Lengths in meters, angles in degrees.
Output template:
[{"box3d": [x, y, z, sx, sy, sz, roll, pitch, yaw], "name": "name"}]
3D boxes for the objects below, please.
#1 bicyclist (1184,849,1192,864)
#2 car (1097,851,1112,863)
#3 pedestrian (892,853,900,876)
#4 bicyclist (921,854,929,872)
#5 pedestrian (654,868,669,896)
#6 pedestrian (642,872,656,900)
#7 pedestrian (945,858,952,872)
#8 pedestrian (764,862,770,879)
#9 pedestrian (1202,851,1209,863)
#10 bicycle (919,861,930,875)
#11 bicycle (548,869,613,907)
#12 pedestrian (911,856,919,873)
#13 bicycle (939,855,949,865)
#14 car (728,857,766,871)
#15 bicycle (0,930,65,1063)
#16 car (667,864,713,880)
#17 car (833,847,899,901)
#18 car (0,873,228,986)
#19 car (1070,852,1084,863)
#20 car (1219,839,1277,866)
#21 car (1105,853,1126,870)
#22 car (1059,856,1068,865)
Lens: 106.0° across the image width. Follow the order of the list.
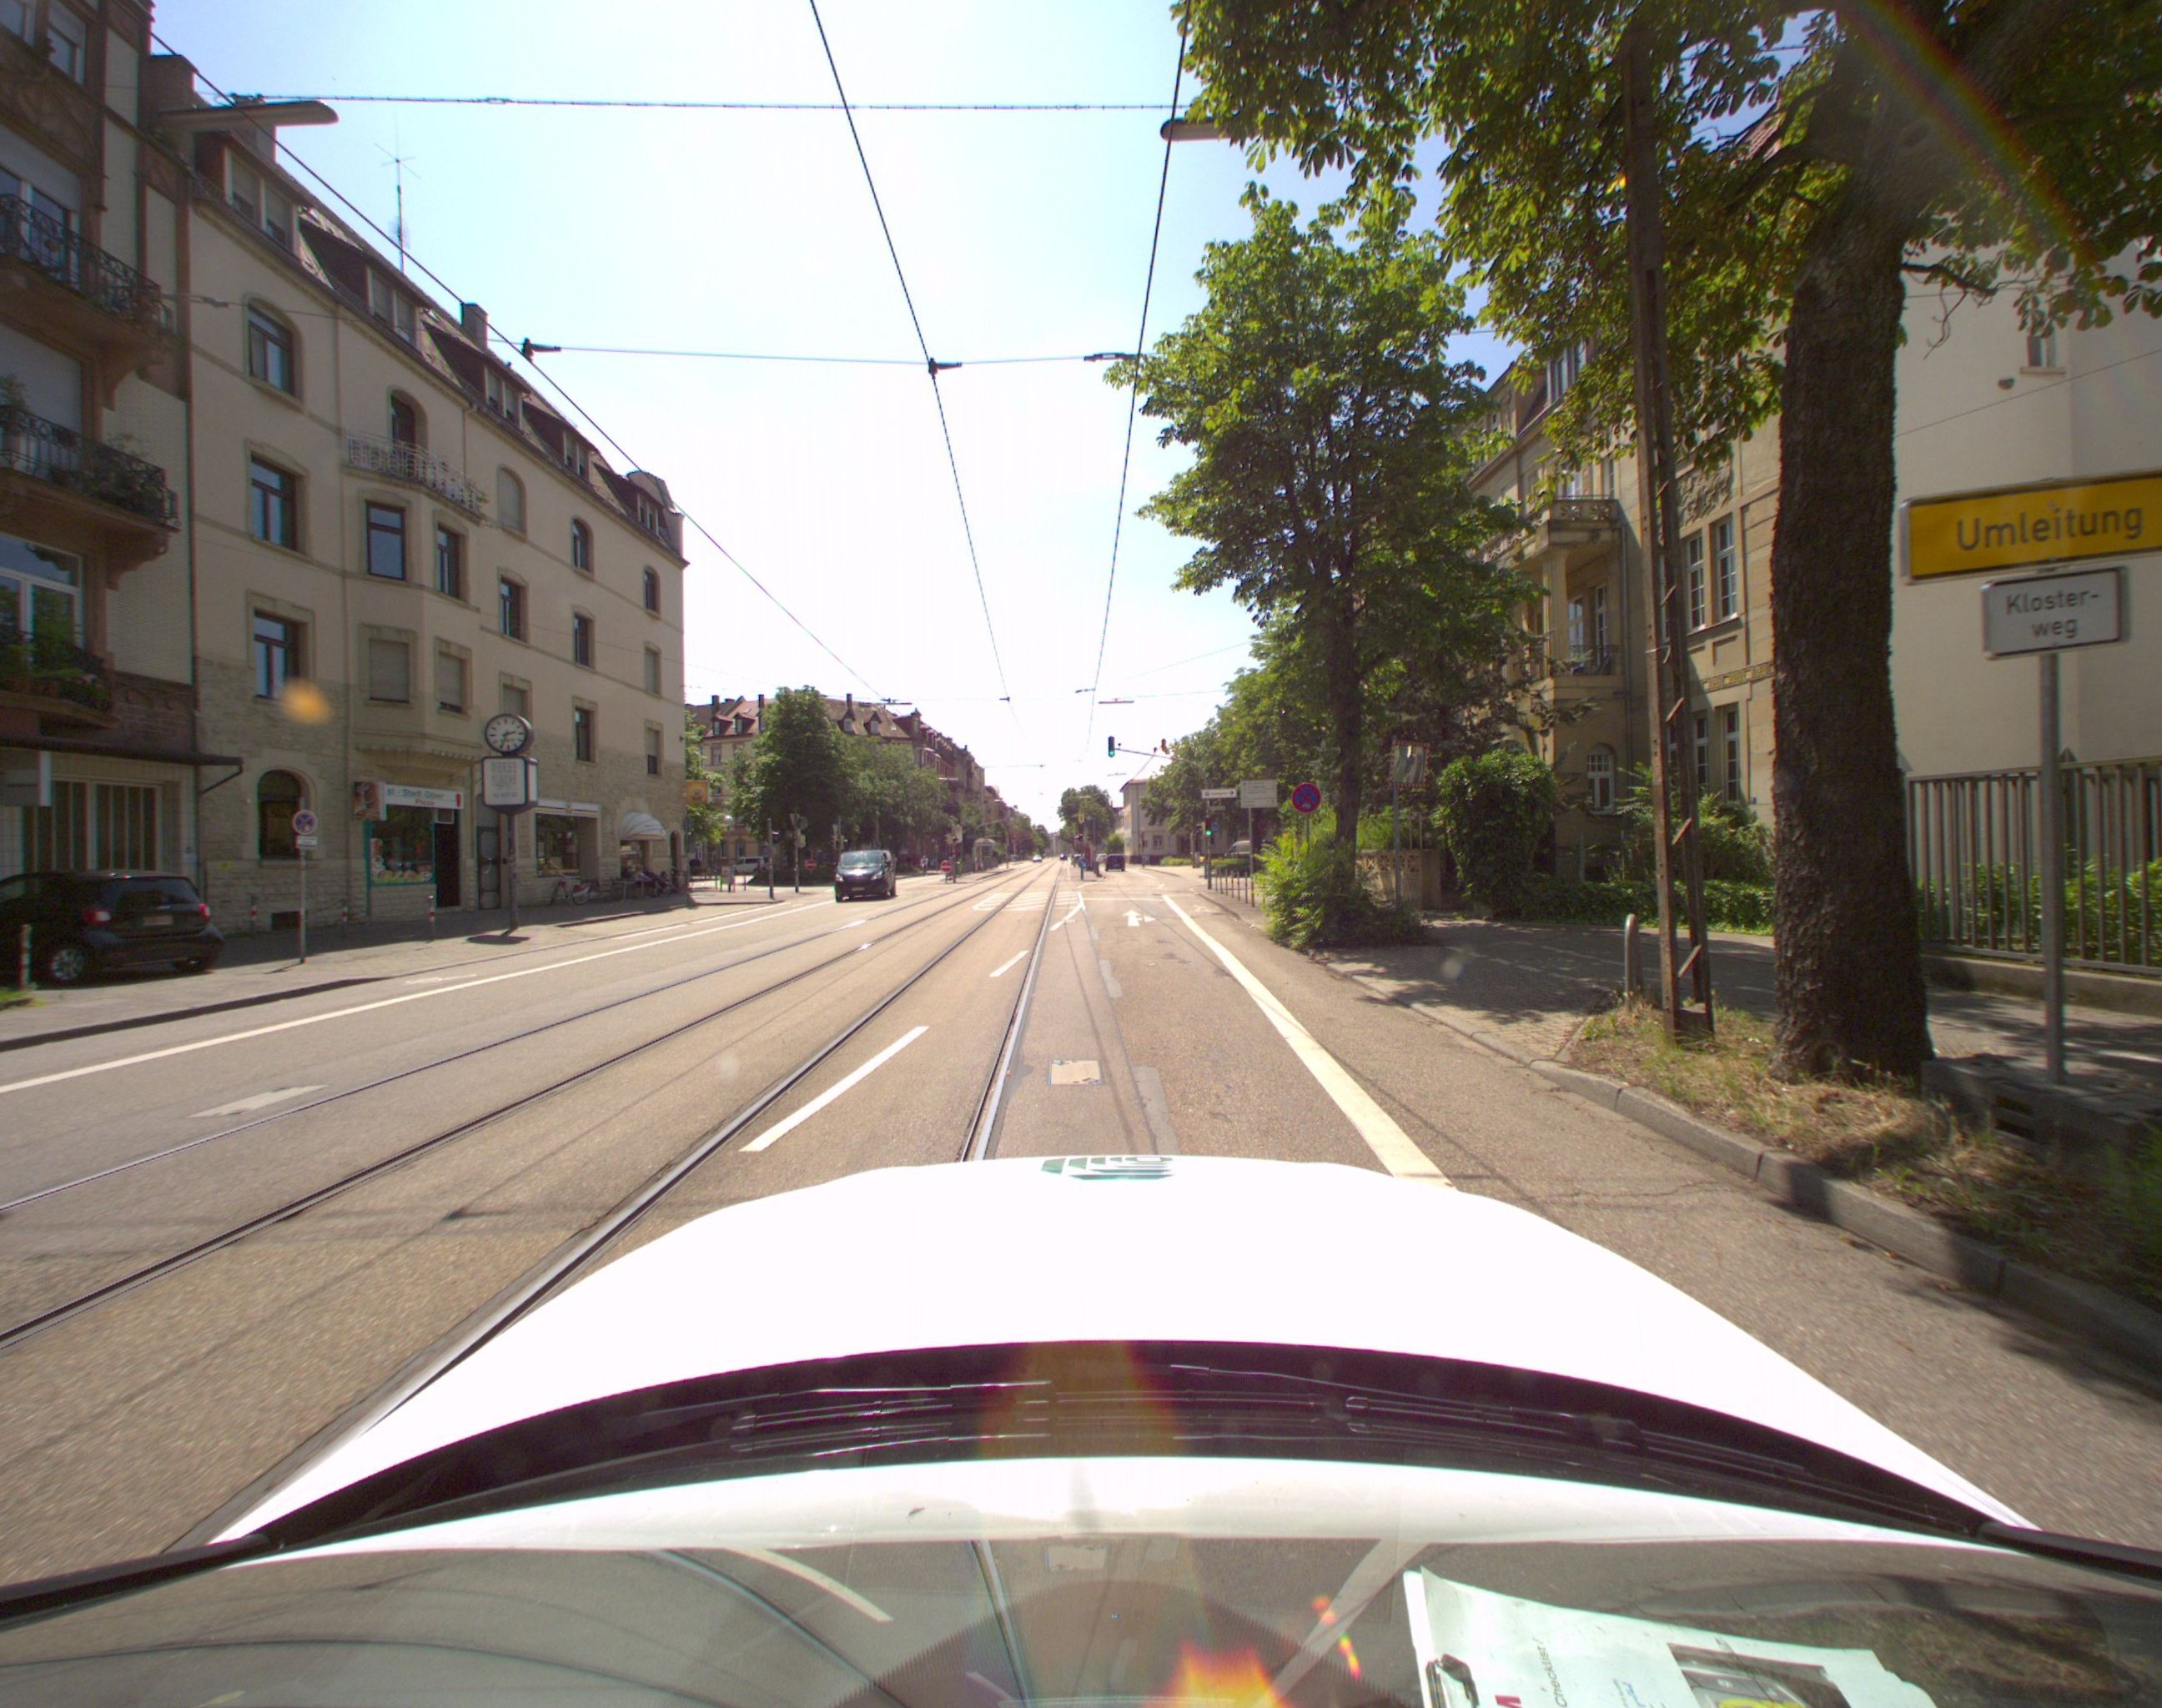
[{"box3d": [11.863, 0.322, 90.315, 0.687, 1.646, 0.584, -1, -1, 31], "name": "bicyclist"}, {"box3d": [3.376, 0.456, 116.982, 1.743, 1.473, 3.934, -4, -1, -3], "name": "car"}, {"box3d": [-15.294, 0.883, 67.206, 0.508, 1.879, 0.494, 0, -1, 3], "name": "pedestrian"}, {"box3d": [-13.379, 0.790, 69.691, 0.606, 1.574, 0.585, 0, -1, -2], "name": "bicyclist"}, {"box3d": [-17.326, 1.159, 33.639, 0.404, 1.148, 0.405, 0, -1, -5], "name": "pedestrian"}, {"box3d": [-17.236, 1.260, 32.471, 0.354, 1.089, 0.405, 0, -1, -5], "name": "pedestrian"}, {"box3d": [-16.460, 1.356, 101.143, 0.657, 1.615, 0.464, 1, 1, -44], "name": "pedestrian"}, {"box3d": [-33.514, 1.775, 86.950, 0.508, 1.768, 0.525, 0, -1, -24], "name": "pedestrian"}, {"box3d": [11.129, 0.254, 72.911, 0.507, 1.092, 0.479, -3, 0, 4], "name": "pedestrian"}, {"box3d": [-13.382, 1.171, 69.605, 0.626, 1.157, 1.976, 0, 0, -2], "name": "bicycle"}, {"box3d": [-17.038, 1.134, 27.794, 0.450, 1.225, 2.089, 0, -1, 18], "name": "bicycle"}, {"box3d": [-16.289, 1.019, 79.992, 0.678, 1.605, 0.771, 0, -1, -5], "name": "pedestrian"}, {"box3d": [-17.419, 0.763, 103.529, 0.360, 1.169, 1.529, 1, 0, 32], "name": "bicycle"}, {"box3d": [-35.266, 1.093, 85.985, 3.696, 1.442, 1.550, 0, -1, 22], "name": "car"}, {"box3d": [-9.433, 1.227, 6.222, 0.642, 1.074, 2.185, -1, 0, -2], "name": "bicycle"}, {"box3d": [-37.029, 1.695, 77.170, 3.710, 1.442, 1.544, 0, -1, 6], "name": "car"}, {"box3d": [-8.612, 0.791, 33.051, 1.842, 1.938, 4.811, -2, -1, -7], "name": "car"}, {"box3d": [-14.743, 1.027, 11.722, 3.341, 1.471, 1.530, 0, 0, 2], "name": "car"}, {"box3d": [-0.614, 0.530, 113.085, 1.523, 1.456, 3.356, -2, -1, -7], "name": "car"}, {"box3d": [17.119, -0.138, 83.826, 2.011, 2.590, 5.780, -1, 0, -42], "name": "car"}, {"box3d": [2.974, 0.653, 70.190, 1.520, 1.444, 3.362, -2, -1, -2], "name": "car"}, {"box3d": [-4.074, 1.475, 190.589, 2.041, 2.014, 4.603, 0, -1, -2], "name": "car"}]
